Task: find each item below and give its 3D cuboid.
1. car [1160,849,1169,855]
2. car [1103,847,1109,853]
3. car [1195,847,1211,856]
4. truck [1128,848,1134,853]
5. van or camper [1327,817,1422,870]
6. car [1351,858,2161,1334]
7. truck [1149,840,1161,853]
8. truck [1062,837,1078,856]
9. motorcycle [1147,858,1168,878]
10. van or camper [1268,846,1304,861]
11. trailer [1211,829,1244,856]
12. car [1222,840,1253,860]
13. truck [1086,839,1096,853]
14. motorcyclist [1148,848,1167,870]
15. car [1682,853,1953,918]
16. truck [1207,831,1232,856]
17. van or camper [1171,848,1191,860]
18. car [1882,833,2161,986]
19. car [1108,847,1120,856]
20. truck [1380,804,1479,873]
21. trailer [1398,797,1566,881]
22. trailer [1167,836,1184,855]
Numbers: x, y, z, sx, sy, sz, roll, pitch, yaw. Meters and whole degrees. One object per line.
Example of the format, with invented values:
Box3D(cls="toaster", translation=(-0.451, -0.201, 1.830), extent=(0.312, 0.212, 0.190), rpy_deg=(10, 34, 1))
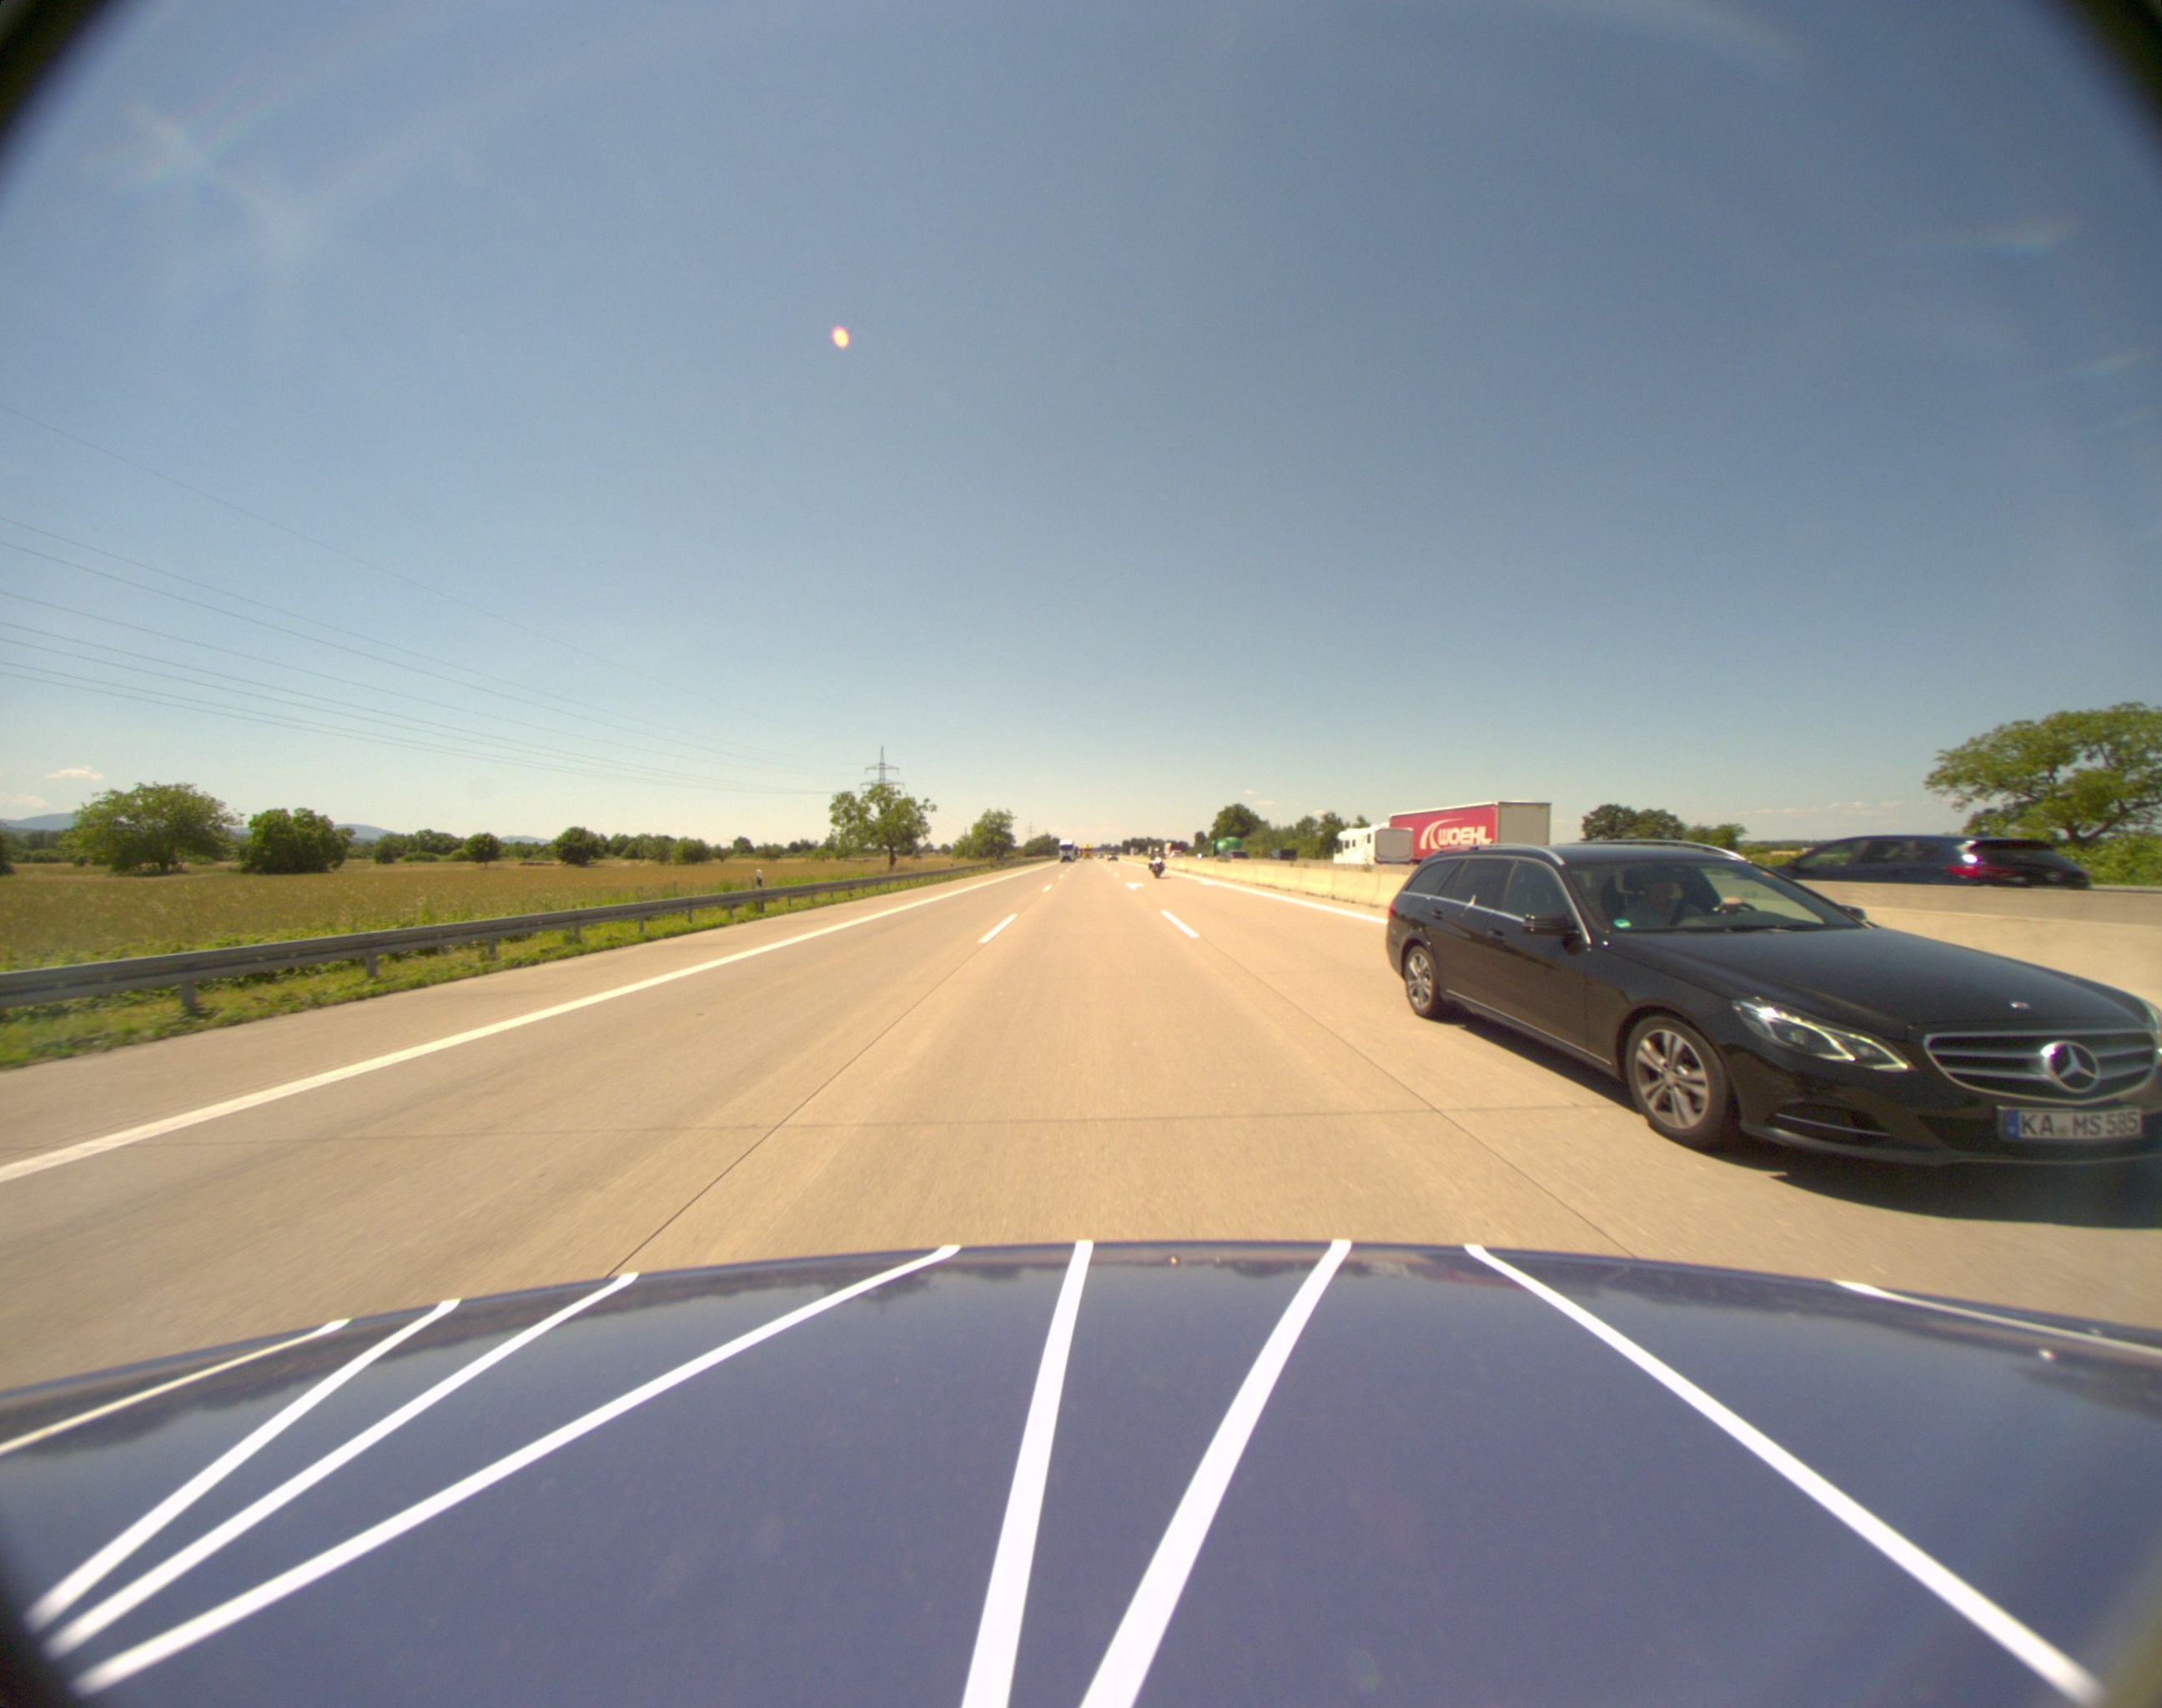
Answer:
Box3D(cls="car", translation=(19.507, -0.545, 177.680), extent=(1.628, 1.392, 4.546), rpy_deg=(-1, 0, 1))
Box3D(cls="car", translation=(7.134, -1.174, 215.214), extent=(1.586, 1.527, 3.611), rpy_deg=(0, 0, 1))
Box3D(cls="car", translation=(18.216, -0.316, 113.536), extent=(1.700, 1.325, 4.000), rpy_deg=(-1, 0, 1))
Box3D(cls="truck", translation=(17.075, -1.322, 259.463), extent=(1.866, 1.750, 3.950), rpy_deg=(-1, 0, 1))
Box3D(cls="van or camper", translation=(17.299, -0.584, 45.413), extent=(2.532, 2.873, 7.936), rpy_deg=(-1, 0, 0))
Box3D(cls="car", translation=(3.785, 0.805, 5.262), extent=(1.895, 1.465, 5.603), rpy_deg=(-1, 0, 1))
Box3D(cls="truck", translation=(24.057, -2.301, 246.408), extent=(3.240, 4.150, 8.128), rpy_deg=(-1, 0, 1))
Box3D(cls="truck", translation=(-2.047, -1.358, 140.816), extent=(2.570, 3.514, 10.099), rpy_deg=(-1, 0, 1))
Box3D(cls="motorcycle", translation=(4.336, 0.797, 43.205), extent=(1.023, 1.042, 2.413), rpy_deg=(-1, 0, 3))
Box3D(cls="van or camper", translation=(22.352, -0.070, 83.124), extent=(2.371, 1.612, 6.091), rpy_deg=(-1, 0, 0))
Box3D(cls="trailer", translation=(22.385, -1.678, 116.669), extent=(2.742, 3.855, 11.103), rpy_deg=(-1, 0, -1))
Box3D(cls="car", translation=(13.297, -0.337, 64.851), extent=(1.798, 1.546, 4.601), rpy_deg=(-1, 0, 1))
Box3D(cls="truck", translation=(2.742, -2.297, 212.577), extent=(2.570, 3.711, 10.099), rpy_deg=(-1, 0, 1))
Box3D(cls="motorcyclist", translation=(4.311, 0.271, 43.111), extent=(1.027, 1.202, 0.911), rpy_deg=(-1, 1, 3))
Box3D(cls="car", translation=(16.578, 0.627, 17.553), extent=(1.692, 1.256, 4.791), rpy_deg=(-1, 0, 1))
Box3D(cls="truck", translation=(22.246, -1.697, 122.536), extent=(2.751, 3.860, 6.203), rpy_deg=(-1, 0, -1))
Box3D(cls="van or camper", translation=(14.765, 0.007, 112.458), extent=(2.247, 1.683, 5.849), rpy_deg=(0, 0, 1))
Box3D(cls="car", translation=(12.939, 0.606, 9.328), extent=(1.692, 1.708, 4.338), rpy_deg=(-1, 0, 1))
Box3D(cls="car", translation=(5.879, -0.452, 137.186), extent=(1.998, 1.518, 4.000), rpy_deg=(0, 0, 1))
Box3D(cls="truck", translation=(21.737, -0.930, 47.905), extent=(3.007, 3.959, 7.294), rpy_deg=(-1, 0, 1))
Box3D(cls="trailer", translation=(21.635, -0.730, 42.237), extent=(3.007, 3.959, 12.341), rpy_deg=(-1, 0, 1))
Box3D(cls="trailer", translation=(23.637, -2.083, 190.466), extent=(2.809, 4.511, 13.234), rpy_deg=(-1, 0, 1))
